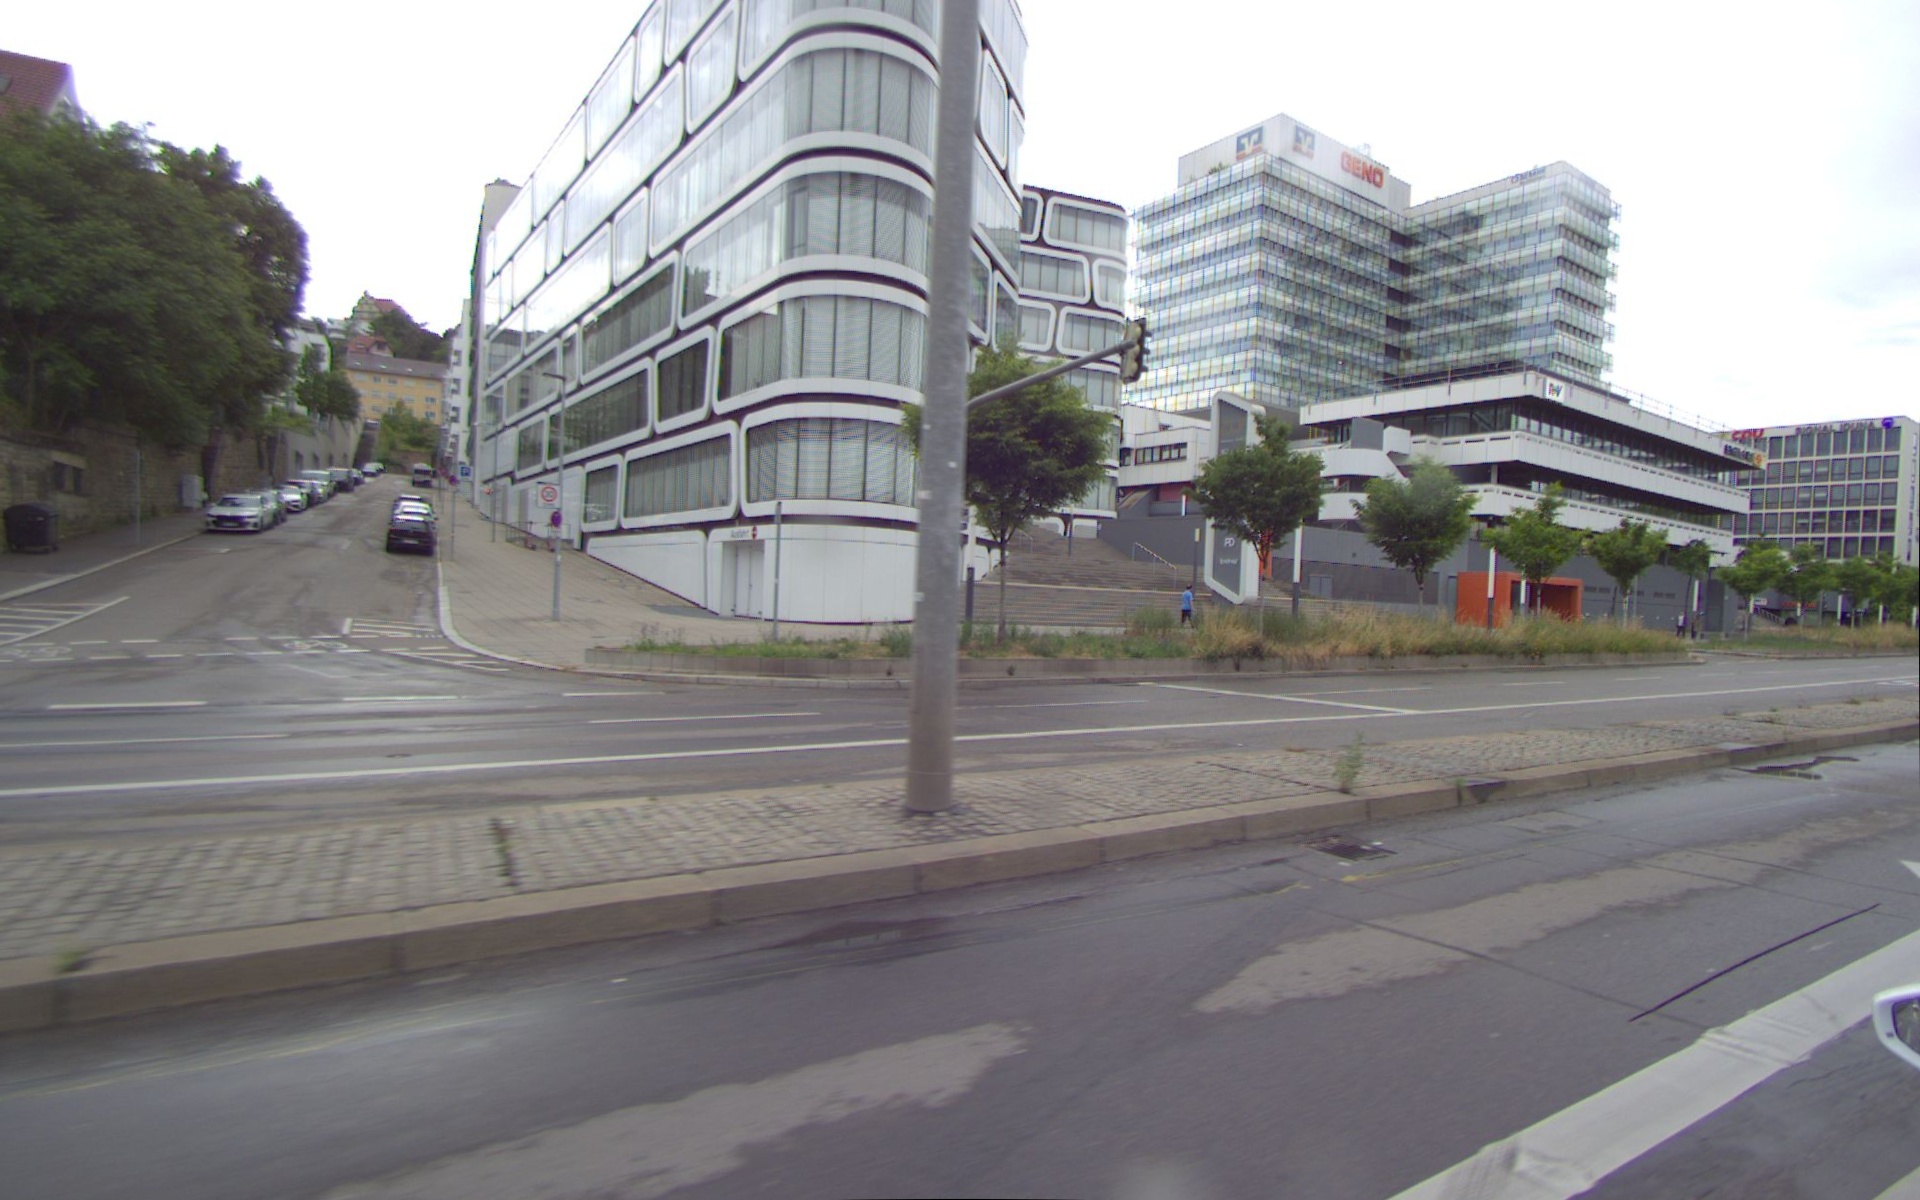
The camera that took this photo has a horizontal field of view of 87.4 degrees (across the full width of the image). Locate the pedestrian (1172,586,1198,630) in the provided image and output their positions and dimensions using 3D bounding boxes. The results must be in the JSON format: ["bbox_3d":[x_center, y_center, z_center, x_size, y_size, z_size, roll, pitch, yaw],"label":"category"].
[{"bbox_3d":[8.556,0.315,38.208,0.633,1.632,0.607,3,0,-32],"label":"pedestrian"}]

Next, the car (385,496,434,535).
[{"bbox_3d":[-28.347,-4.369,51.679,1.859,1.598,3.962,2,6,-34],"label":"car"}]

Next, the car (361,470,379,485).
[{"bbox_3d":[-79.268,-16.417,134.970,1.859,1.706,3.970,3,4,-28],"label":"car"}]

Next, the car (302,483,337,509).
[{"bbox_3d":[-47.052,-7.659,73.852,1.792,1.706,3.970,3,4,-28],"label":"car"}]

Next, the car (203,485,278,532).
[{"bbox_3d":[-30.746,-3.942,43.052,2.027,1.706,3.970,3,4,-28],"label":"car"}]

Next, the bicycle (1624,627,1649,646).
[{"bbox_3d":[31.507,1.691,46.803,0.598,0.869,1.657,2,-1,21],"label":"bicycle"}]

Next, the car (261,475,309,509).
[{"bbox_3d":[-38.370,-6.130,57.164,1.792,1.706,3.970,3,4,-28],"label":"car"}]

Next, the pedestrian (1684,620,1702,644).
[{"bbox_3d":[45.089,1.977,61.805,0.790,1.465,0.614,3,0,-34],"label":"pedestrian"}]

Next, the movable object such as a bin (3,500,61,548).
[{"bbox_3d":[-27.773,-2.274,30.079,1.105,1.261,0.820,2,7,-30],"label":"movable object such as a bin"}]

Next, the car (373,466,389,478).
[{"bbox_3d":[-91.010,-20.111,157.910,1.859,1.706,3.970,3,4,-28],"label":"car"}]

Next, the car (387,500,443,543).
[{"bbox_3d":[-25.022,-3.627,46.084,1.859,1.598,3.962,2,6,-34],"label":"car"}]

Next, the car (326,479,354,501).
[{"bbox_3d":[-53.809,-9.535,87.209,1.688,1.706,3.970,3,4,-28],"label":"car"}]

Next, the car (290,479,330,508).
[{"bbox_3d":[-44.183,-7.246,68.324,1.893,1.706,3.970,3,4,-28],"label":"car"}]

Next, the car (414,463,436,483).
[{"bbox_3d":[-62.368,-14.813,117.115,1.974,2.118,3.972,3,5,-27],"label":"car"}]

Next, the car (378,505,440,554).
[{"bbox_3d":[-22.634,-2.918,41.210,1.859,1.598,3.962,2,6,-34],"label":"car"}]

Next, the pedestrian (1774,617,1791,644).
[{"bbox_3d":[57.931,2.147,70.732,0.622,1.831,0.779,3,0,-35],"label":"pedestrian"}]

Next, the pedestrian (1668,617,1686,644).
[{"bbox_3d":[44.670,1.898,62.536,0.790,1.680,0.614,3,0,-34],"label":"pedestrian"}]

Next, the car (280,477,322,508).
[{"bbox_3d":[-41.400,-6.771,63.174,1.826,1.706,3.969,3,4,-29],"label":"car"}]
